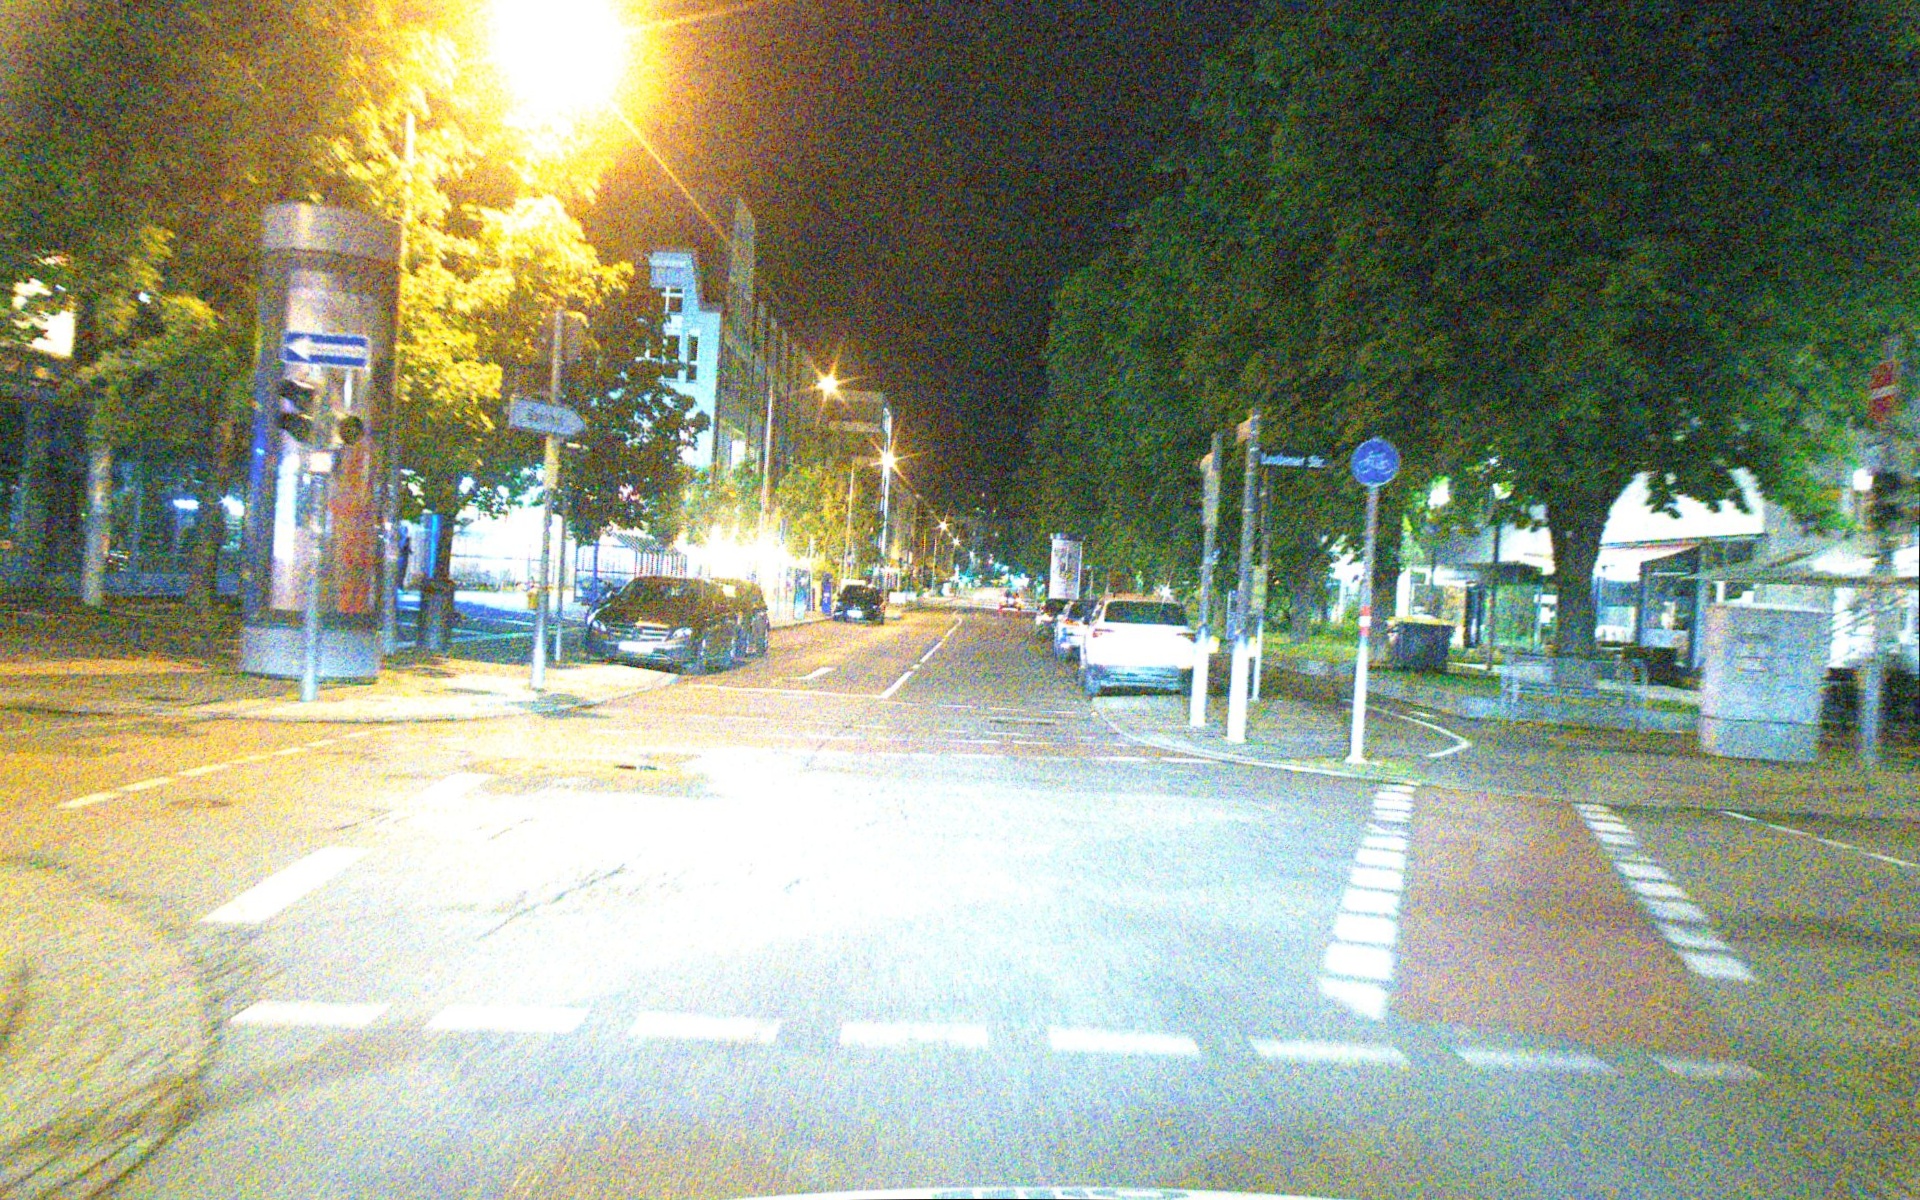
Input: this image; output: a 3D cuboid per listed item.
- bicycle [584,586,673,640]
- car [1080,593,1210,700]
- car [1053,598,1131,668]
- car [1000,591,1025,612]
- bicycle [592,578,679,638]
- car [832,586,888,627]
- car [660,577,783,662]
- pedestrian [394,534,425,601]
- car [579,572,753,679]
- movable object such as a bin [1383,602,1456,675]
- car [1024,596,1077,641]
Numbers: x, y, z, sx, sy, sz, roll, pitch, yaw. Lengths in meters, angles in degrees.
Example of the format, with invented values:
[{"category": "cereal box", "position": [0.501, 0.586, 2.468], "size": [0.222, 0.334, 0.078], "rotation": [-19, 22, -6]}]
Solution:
[{"category": "bicycle", "position": [-7.432, 0.283, 37.092], "size": [1.813, 1.053, 0.533], "rotation": [5, 0, 1]}, {"category": "car", "position": [2.919, 0.686, 26.841], "size": [1.733, 1.563, 4.217], "rotation": [1, 0, 2]}, {"category": "car", "position": [3.182, 0.757, 40.503], "size": [1.655, 1.563, 4.016], "rotation": [2, 0, 2]}, {"category": "car", "position": [4.395, 0.103, 139.526], "size": [1.952, 1.672, 4.001], "rotation": [2, 0, 1]}, {"category": "bicycle", "position": [-7.401, 0.183, 37.737], "size": [1.813, 1.275, 0.533], "rotation": [3, 0, 1]}, {"category": "car", "position": [-3.915, 0.241, 65.152], "size": [1.705, 1.437, 4.496], "rotation": [4, 0, 2]}, {"category": "car", "position": [-4.719, 0.352, 33.263], "size": [1.687, 1.453, 3.977], "rotation": [5, 0, 1]}, {"category": "pedestrian", "position": [-14.087, -0.823, 42.329], "size": [0.468, 1.665, 0.632], "rotation": [3, 0, 2]}, {"category": "car", "position": [-4.742, 0.374, 27.388], "size": [1.770, 1.449, 4.922], "rotation": [5, 0, 1]}, {"category": "movable object such as a bin", "position": [9.383, 0.775, 33.827], "size": [1.137, 1.394, 0.993], "rotation": [4, 0, 0]}, {"category": "car", "position": [3.203, 0.634, 59.138], "size": [1.727, 1.439, 4.809], "rotation": [2, 0, 2]}]
